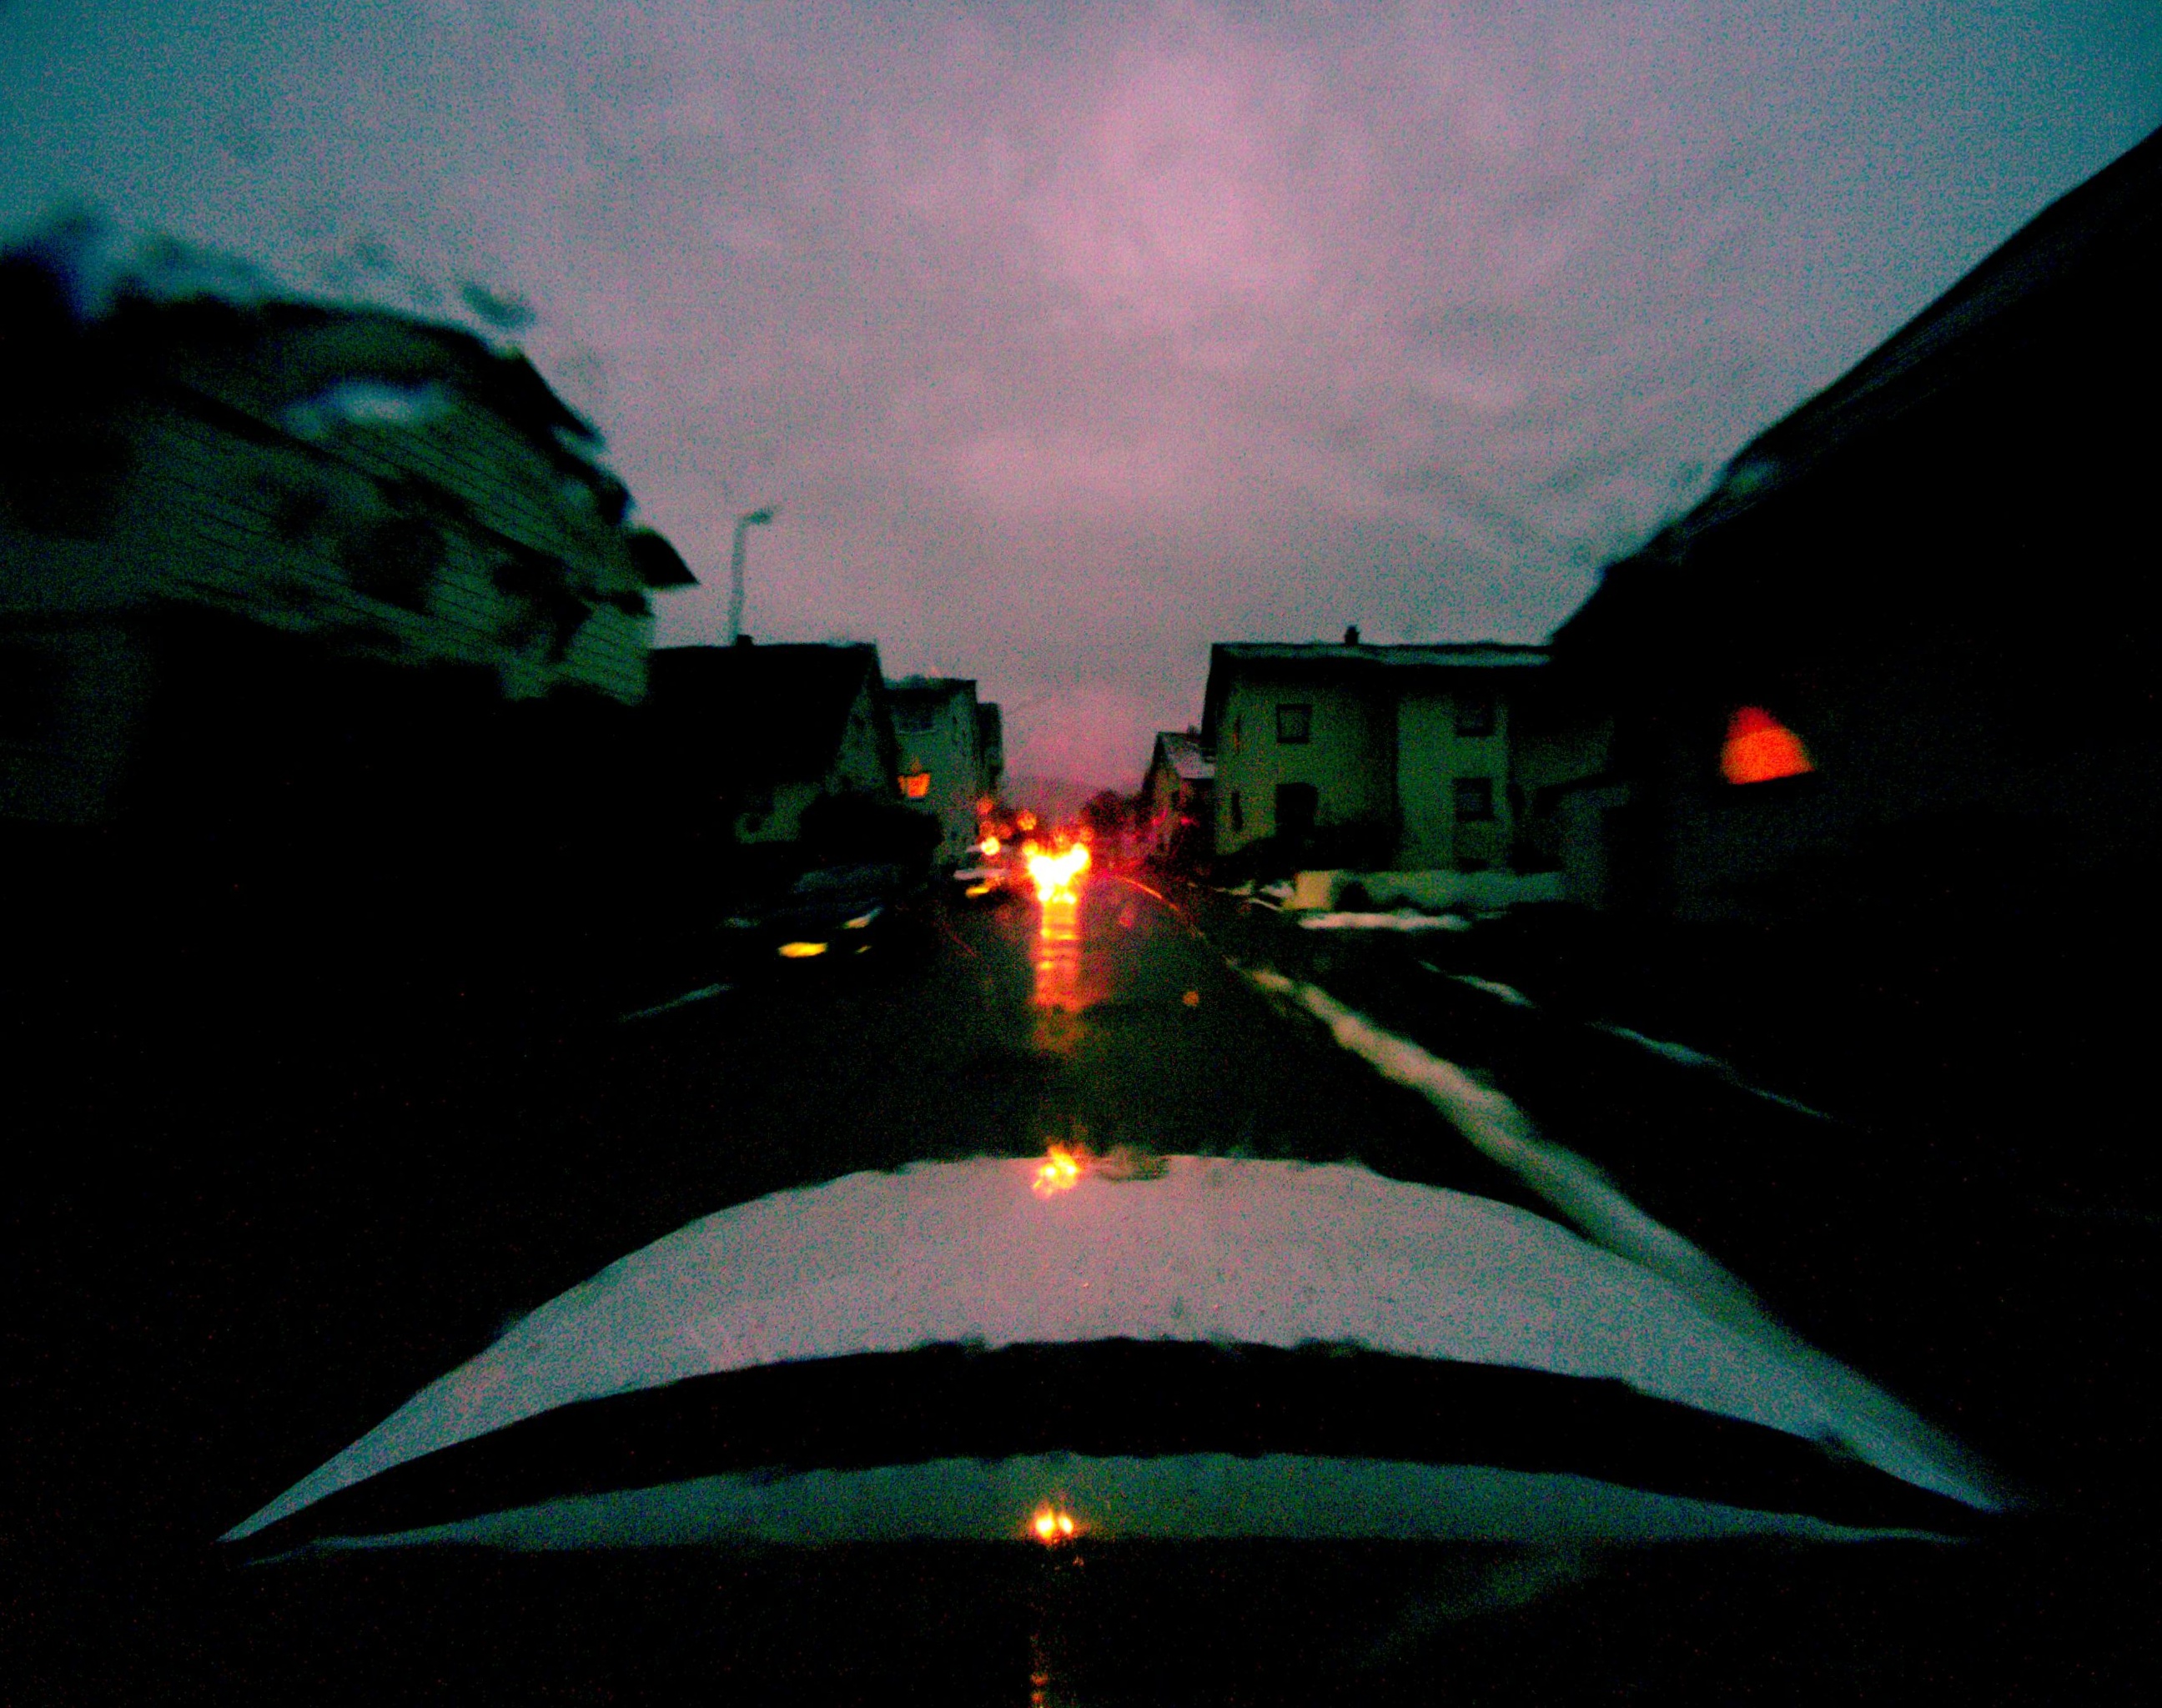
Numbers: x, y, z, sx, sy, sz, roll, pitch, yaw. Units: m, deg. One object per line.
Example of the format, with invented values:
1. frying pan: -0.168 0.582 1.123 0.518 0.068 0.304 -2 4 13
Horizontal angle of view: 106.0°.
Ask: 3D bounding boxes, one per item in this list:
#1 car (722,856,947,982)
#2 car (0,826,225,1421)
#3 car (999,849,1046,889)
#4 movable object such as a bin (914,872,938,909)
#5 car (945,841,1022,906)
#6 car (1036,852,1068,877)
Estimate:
1. car: -3.400 0.809 12.177 1.786 1.503 4.313 -2 0 3
2. car: -3.785 0.706 0.649 1.677 1.584 4.177 -1 -1 2
3. car: -2.812 0.690 39.993 1.987 1.800 3.999 -2 0 0
4. movable object such as a bin: -4.161 0.980 21.866 0.481 0.917 0.600 3 2 -1
5. car: -2.991 0.576 25.741 1.819 1.835 4.345 -1 0 0
6. car: -2.024 0.770 58.366 1.986 1.650 4.001 -2 -2 2
